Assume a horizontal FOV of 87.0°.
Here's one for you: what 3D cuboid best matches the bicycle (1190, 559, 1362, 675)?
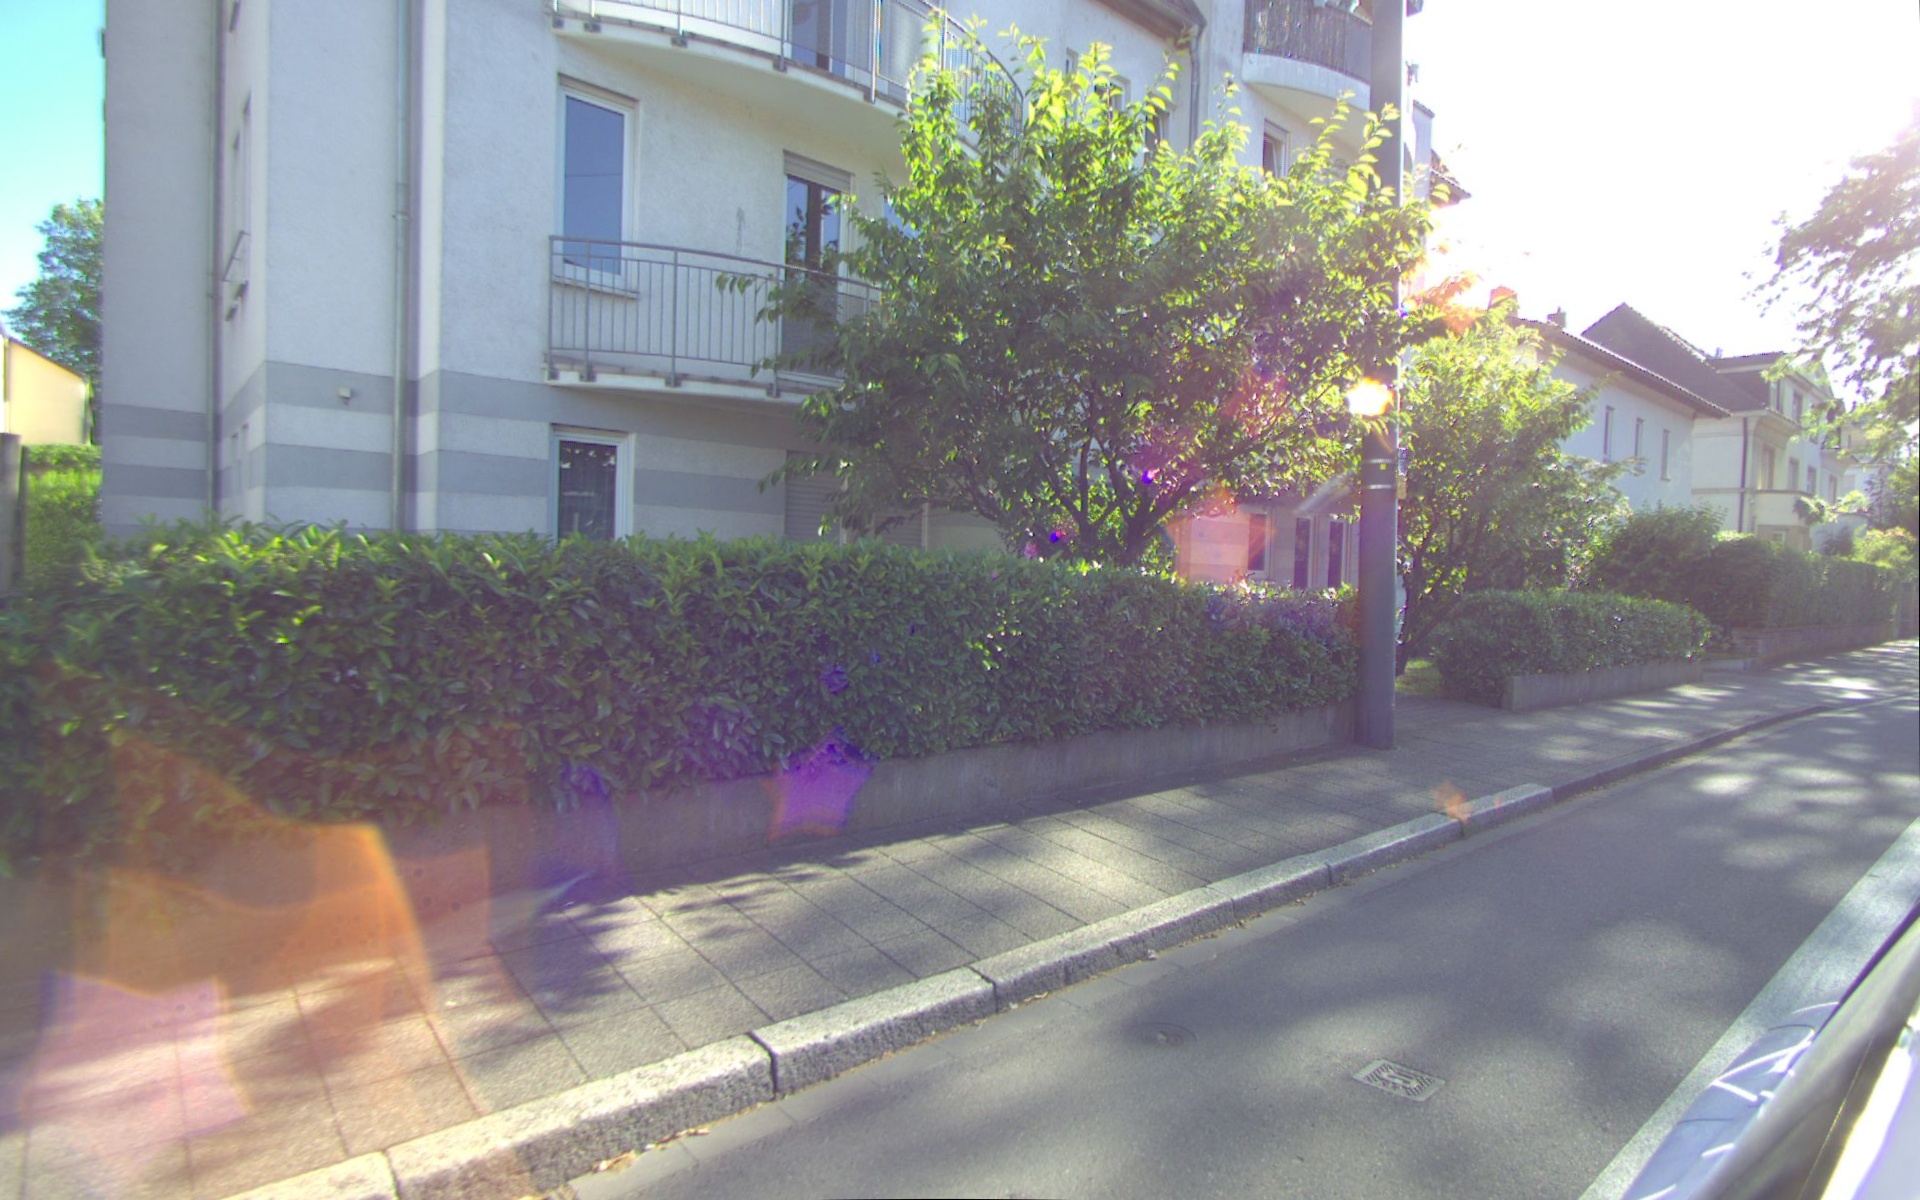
[{"bbox_3d":[3.935,0.167,12.733,0.811,1.217,1.846,0,6,-40],"label":"bicycle"}]

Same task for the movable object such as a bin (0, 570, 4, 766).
[{"bbox_3d":[-5.552,0.399,5.248,0.799,1.097,0.973,0,2,-40],"label":"movable object such as a bin"}]

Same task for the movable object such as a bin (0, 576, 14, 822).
[{"bbox_3d":[-4.840,0.446,4.549,0.799,1.097,0.973,0,2,-40],"label":"movable object such as a bin"}]
